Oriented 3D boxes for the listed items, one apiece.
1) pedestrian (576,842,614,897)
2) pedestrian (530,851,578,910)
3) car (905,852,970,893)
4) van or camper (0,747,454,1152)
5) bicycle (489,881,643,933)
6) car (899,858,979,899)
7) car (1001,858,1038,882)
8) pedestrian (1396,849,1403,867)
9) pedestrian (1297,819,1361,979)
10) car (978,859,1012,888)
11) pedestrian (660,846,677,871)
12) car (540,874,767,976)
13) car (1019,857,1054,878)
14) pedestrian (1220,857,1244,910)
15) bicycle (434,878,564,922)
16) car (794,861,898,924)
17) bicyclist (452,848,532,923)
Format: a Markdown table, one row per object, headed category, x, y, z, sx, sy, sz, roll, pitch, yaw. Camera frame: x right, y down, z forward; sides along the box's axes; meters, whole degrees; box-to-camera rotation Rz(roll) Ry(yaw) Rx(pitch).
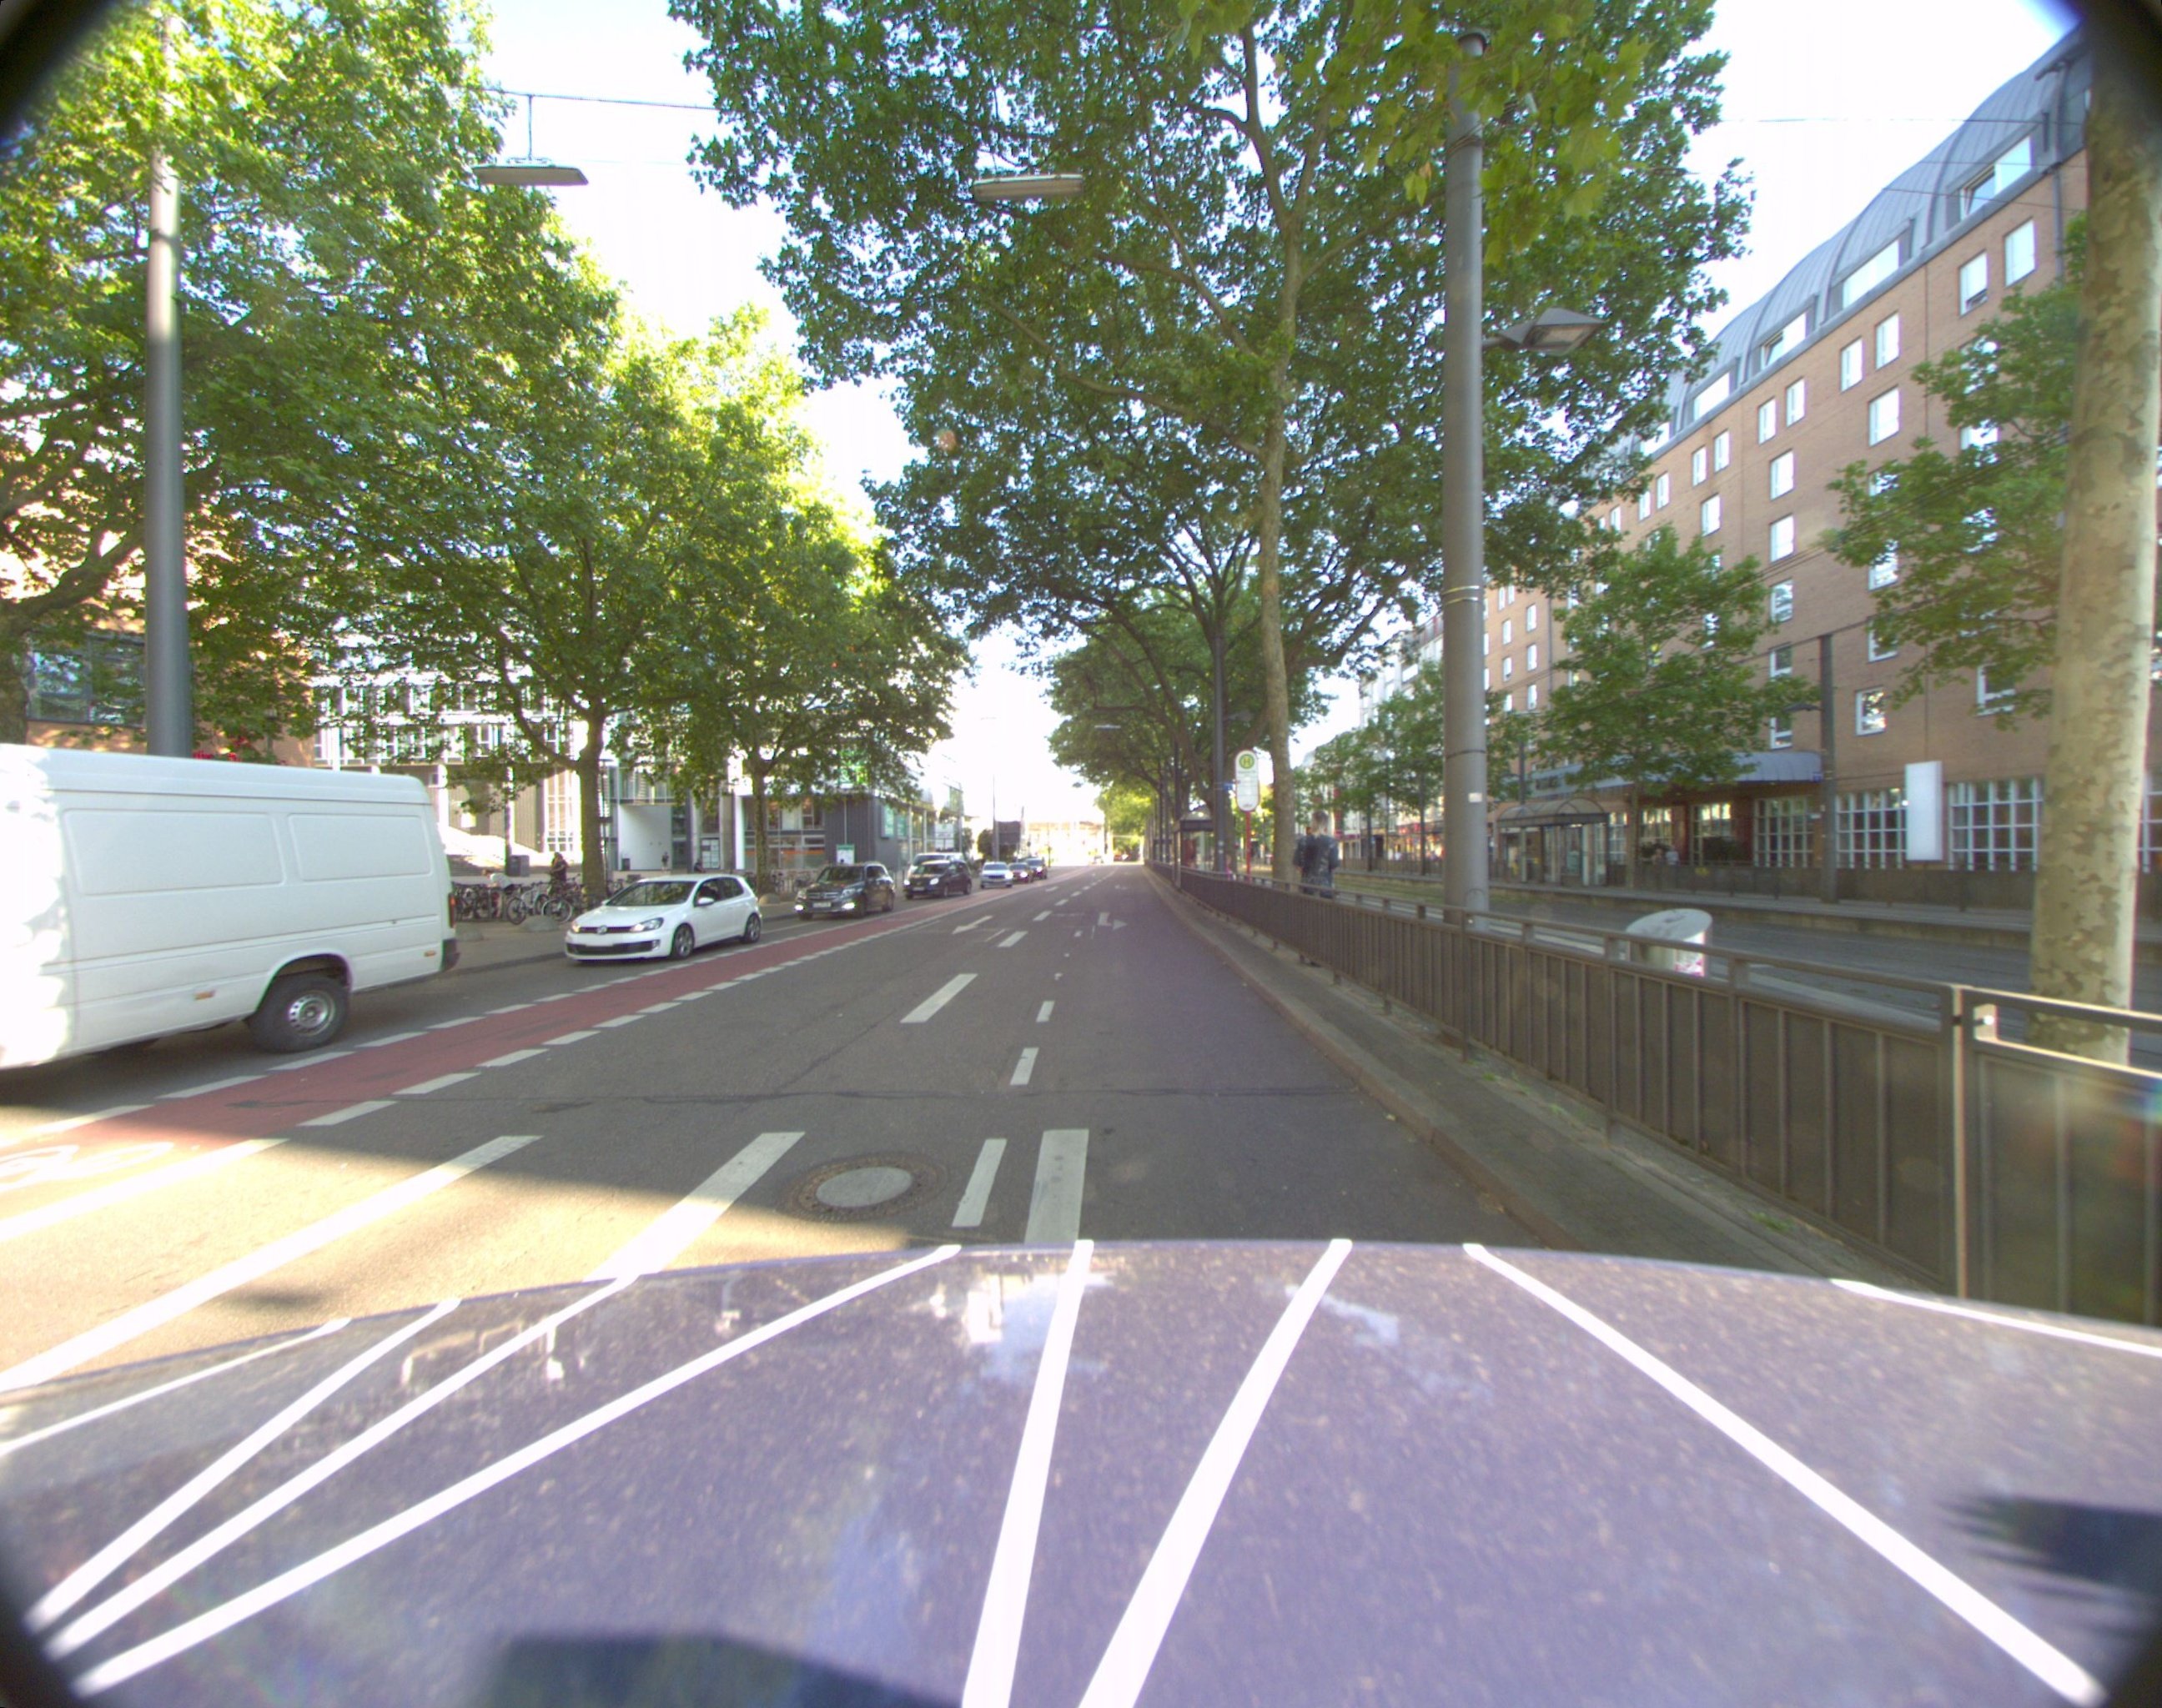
| category | x | y | z | sx | sy | sz | roll | pitch | yaw |
| --- | --- | --- | --- | --- | --- | --- | --- | --- | --- |
| pedestrian | -20.021 | 0.624 | 31.298 | 0.842 | 2.220 | 0.905 | -2 | 1 | 22 |
| pedestrian | -20.943 | 1.040 | 30.205 | 1.048 | 2.235 | 1.221 | -1 | 1 | 38 |
| car | -7.518 | 0.893 | 40.457 | 1.932 | 1.953 | 5.920 | -2 | 0 | 4 |
| van or camper | -7.934 | 0.620 | 5.053 | 2.005 | 2.599 | 6.498 | -1 | 0 | 1 |
| bicycle | -13.063 | 1.309 | 19.469 | 0.975 | 1.020 | 3.208 | -2 | 1 | 23 |
| car | -6.181 | 1.034 | 33.613 | 1.708 | 1.626 | 4.395 | -2 | 0 | 14 |
| car | -4.154 | 1.087 | 52.046 | 1.835 | 1.481 | 4.196 | -3 | 0 | 5 |
| pedestrian | 30.582 | 0.342 | 72.955 | 0.504 | 1.725 | 0.574 | -1 | 1 | 3 |
| pedestrian | 2.932 | 0.520 | 9.015 | 0.543 | 1.823 | 0.524 | -2 | 1 | 4 |
| car | -4.907 | 1.070 | 43.609 | 1.836 | 1.481 | 4.193 | -2 | 0 | -6 |
| pedestrian | -33.701 | 0.343 | 62.032 | 0.797 | 2.002 | 0.875 | -2 | 1 | 1 |
| car | -7.432 | 1.152 | 13.739 | 1.639 | 1.420 | 3.987 | -2 | 0 | 3 |
| car | -3.514 | 1.015 | 60.405 | 1.784 | 1.481 | 4.198 | -3 | 0 | 10 |
| pedestrian | 3.892 | 0.747 | 19.588 | 0.542 | 1.310 | 0.524 | -2 | 1 | 12 |
| bicycle | -16.132 | 1.237 | 21.065 | 3.328 | 1.077 | 1.150 | 0 | 1 | 18 |
| car | -6.999 | 1.090 | 23.106 | 1.769 | 1.626 | 4.250 | -2 | 0 | 1 |
| bicyclist | -16.343 | 0.853 | 21.120 | 1.296 | 2.002 | 1.158 | -1 | 1 | 17 |
